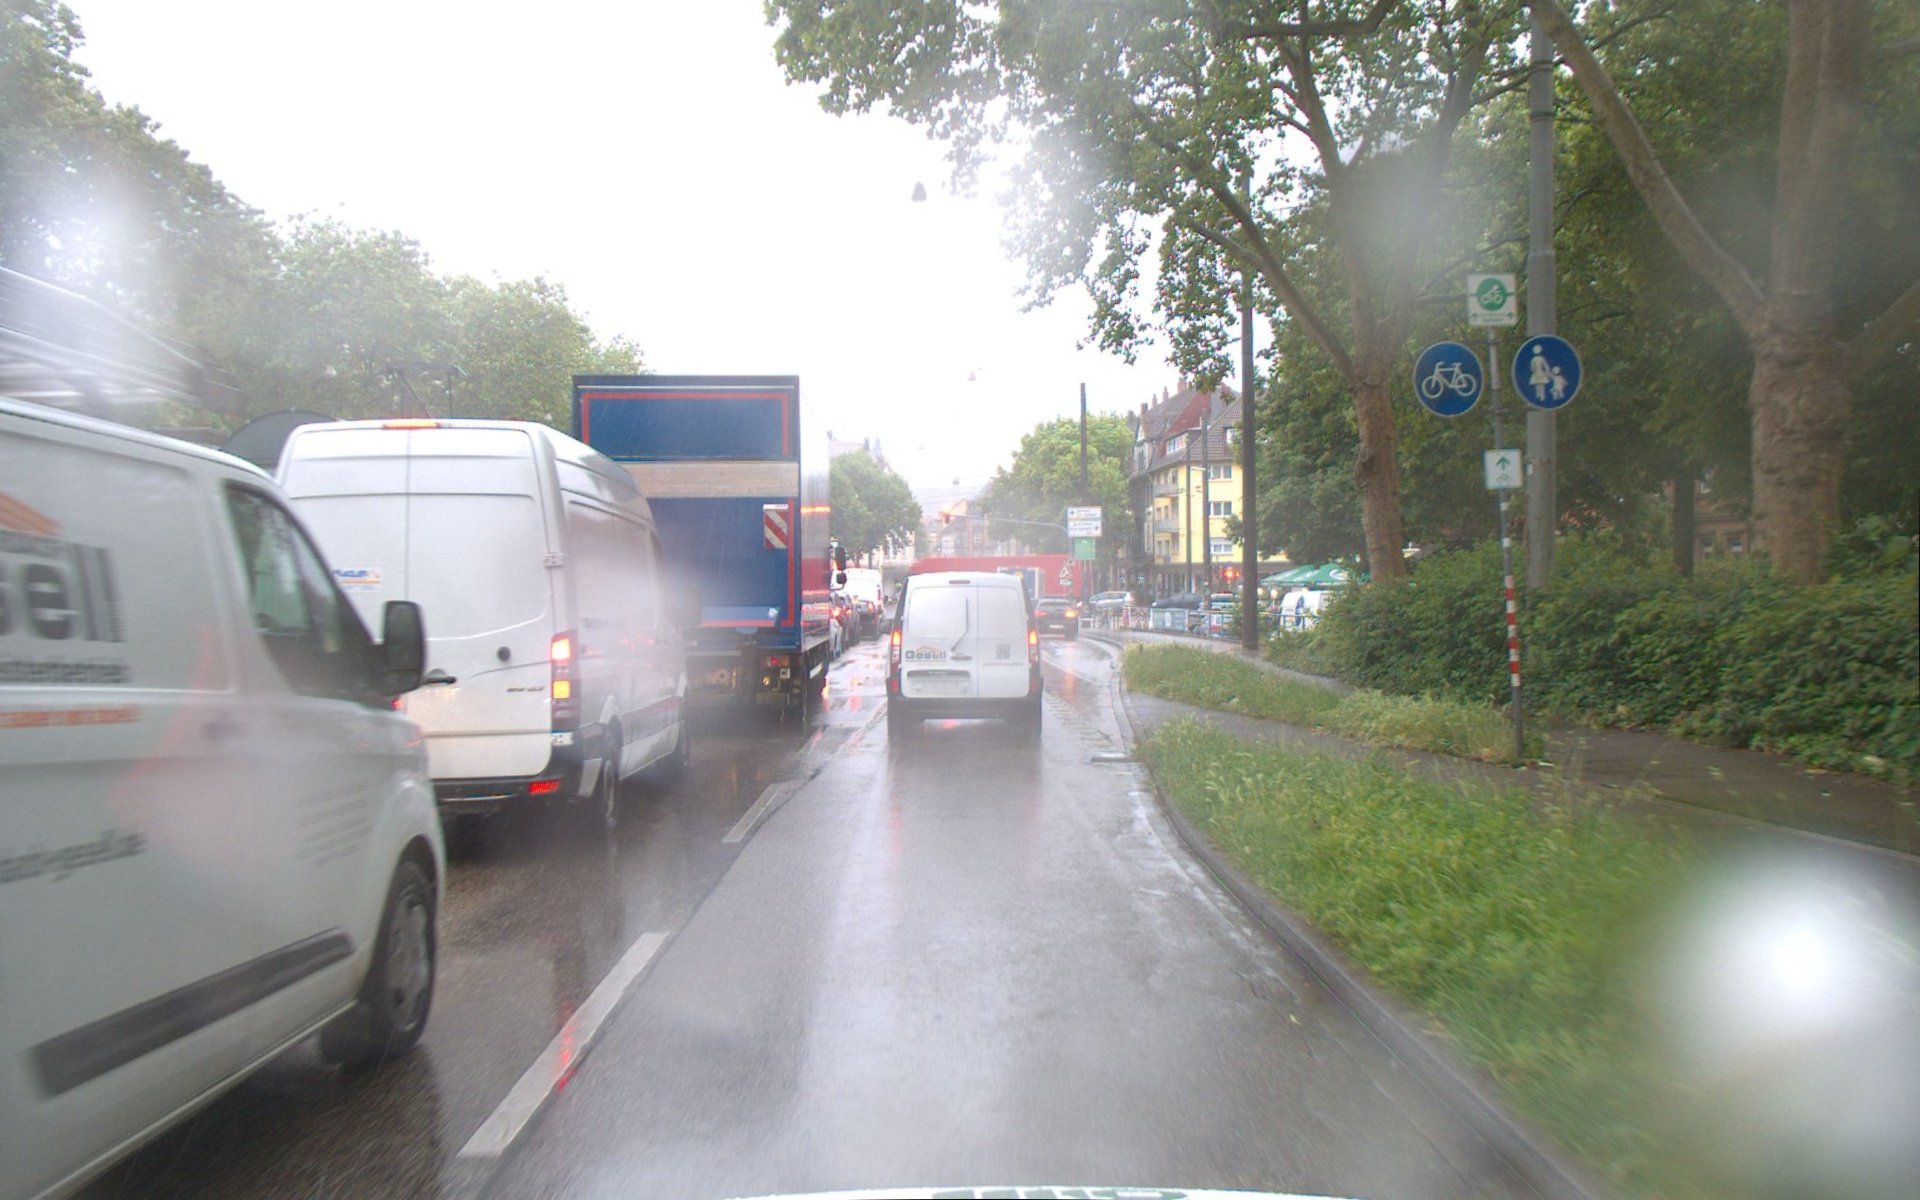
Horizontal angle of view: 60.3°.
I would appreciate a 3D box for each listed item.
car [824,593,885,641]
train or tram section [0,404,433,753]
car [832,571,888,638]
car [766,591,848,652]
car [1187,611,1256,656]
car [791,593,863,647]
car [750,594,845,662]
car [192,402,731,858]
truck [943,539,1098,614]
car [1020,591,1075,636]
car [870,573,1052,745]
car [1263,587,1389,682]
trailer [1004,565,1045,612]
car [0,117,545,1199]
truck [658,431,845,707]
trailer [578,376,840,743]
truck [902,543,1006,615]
[{"bbox_3d":[-3.709,0.607,58.885,1.953,1.606,4.291,1,0,-1],"label":"car"},{"bbox_3d":[-9.202,-0.252,20.277,2.901,3.343,8.358,-2,1,-2],"label":"train or tram section"},{"bbox_3d":[-3.853,0.180,64.406,1.953,2.485,4.611,1,0,-1],"label":"car"},{"bbox_3d":[-4.236,0.589,46.381,1.953,1.606,4.291,1,0,-1],"label":"car"},{"bbox_3d":[10.086,1.281,64.124,1.786,1.516,4.351,-2,1,-2],"label":"car"},{"bbox_3d":[-4.143,0.625,52.165,1.953,1.606,4.291,1,0,-1],"label":"car"},{"bbox_3d":[-3.902,0.644,40.341,1.953,1.498,4.266,1,1,-1],"label":"car"},{"bbox_3d":[-3.272,0.217,12.530,2.282,2.602,6.113,0,-1,-1],"label":"car"},{"bbox_3d":[4.238,-1.645,118.023,11.178,4.985,3.275,-1,1,38],"label":"truck"},{"bbox_3d":[3.248,0.492,61.105,1.952,1.569,4.002,-1,0,3],"label":"car"},{"bbox_3d":[-0.014,0.652,19.244,1.919,1.808,3.568,0,-1,-1],"label":"car"},{"bbox_3d":[10.896,0.948,49.700,2.136,2.576,5.774,-2,1,-4],"label":"car"},{"bbox_3d":[3.429,-0.588,87.304,1.951,2.357,4.671,0,-1,5],"label":"trailer"},{"bbox_3d":[-2.639,0.343,4.062,1.953,2.302,5.287,0,-1,-1],"label":"car"},{"bbox_3d":[-3.139,-0.455,25.850,2.529,3.972,3.998,0,0,-2],"label":"truck"},{"bbox_3d":[-2.992,-0.446,21.763,2.538,3.968,7.633,0,0,-2],"label":"trailer"},{"bbox_3d":[-0.485,-1.524,121.771,7.041,4.985,3.275,-1,1,38],"label":"truck"}]
